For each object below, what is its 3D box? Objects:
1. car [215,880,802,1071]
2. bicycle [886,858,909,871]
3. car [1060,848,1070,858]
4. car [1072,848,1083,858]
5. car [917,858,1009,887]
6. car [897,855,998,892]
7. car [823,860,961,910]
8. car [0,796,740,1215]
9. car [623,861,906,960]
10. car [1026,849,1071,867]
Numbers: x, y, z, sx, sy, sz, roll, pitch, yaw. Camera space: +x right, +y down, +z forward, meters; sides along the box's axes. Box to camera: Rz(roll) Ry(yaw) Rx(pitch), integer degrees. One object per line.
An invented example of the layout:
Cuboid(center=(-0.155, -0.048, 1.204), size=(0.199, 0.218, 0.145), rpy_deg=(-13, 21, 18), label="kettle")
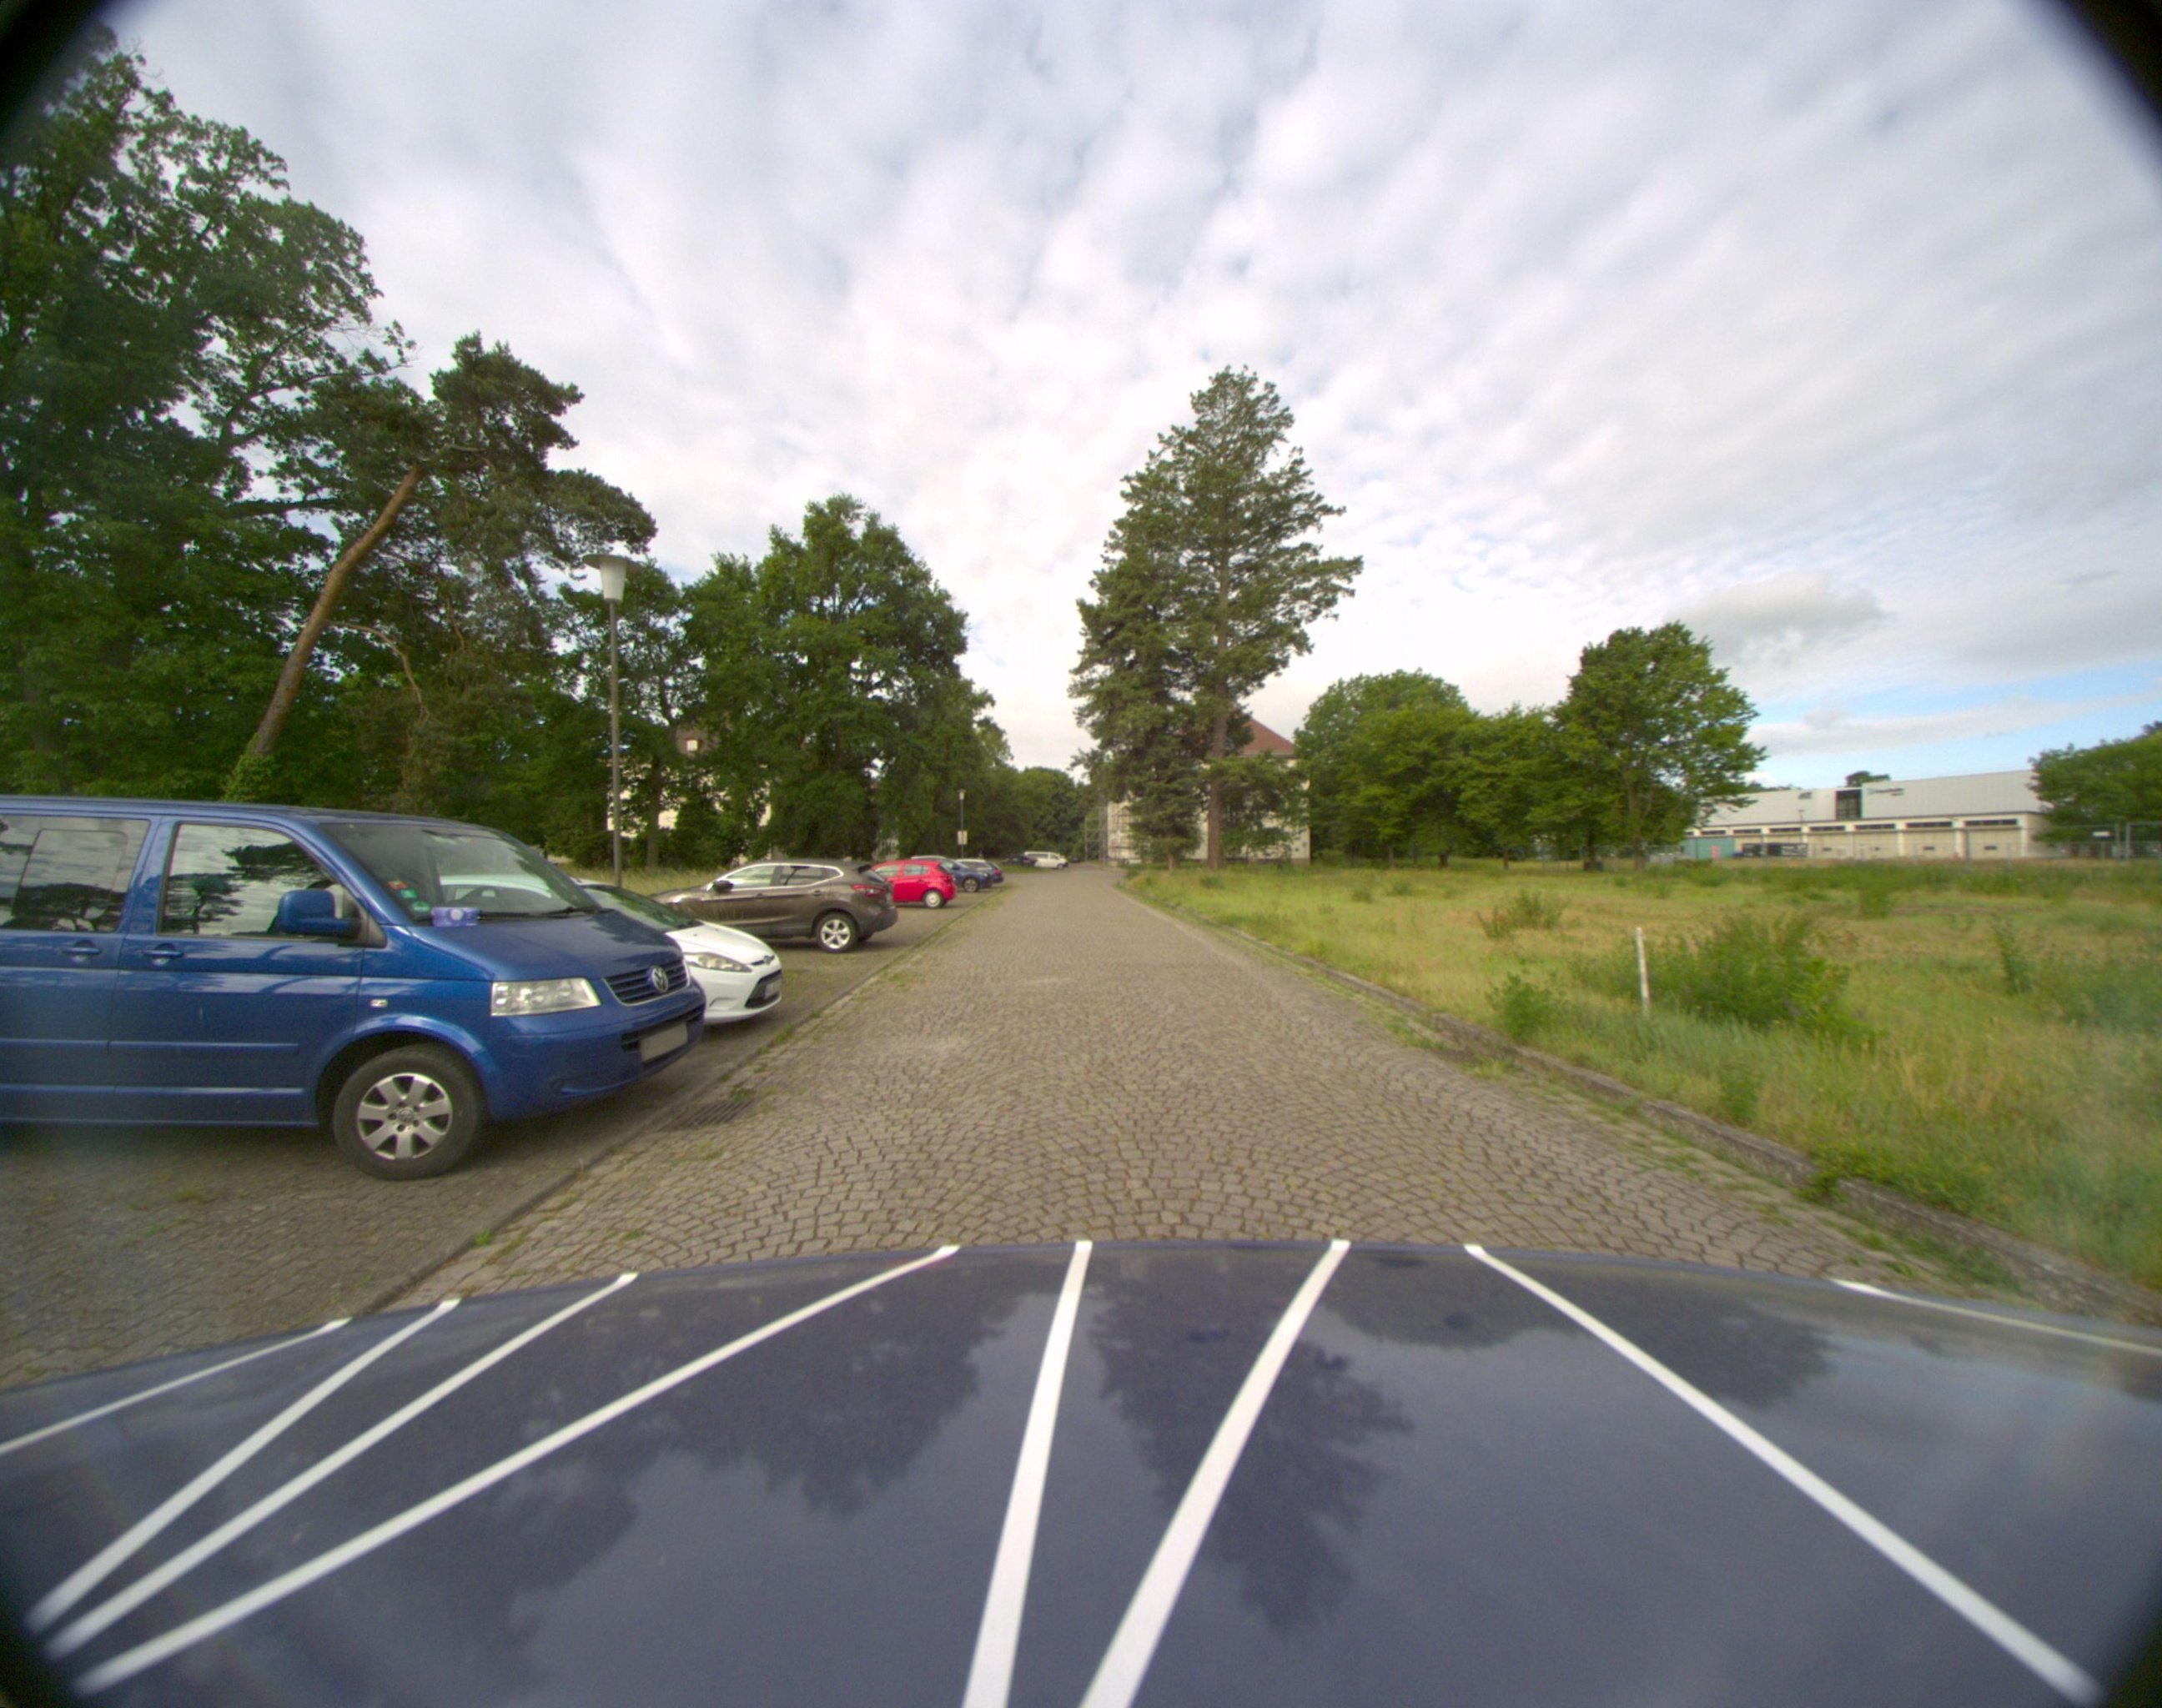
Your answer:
Cuboid(center=(-4.983, 1.016, 7.149), size=(4.110, 1.470, 1.721), rpy_deg=(0, 0, -5), label="car")
Cuboid(center=(-16.259, 0.922, 67.204), size=(1.862, 1.163, 0.487), rpy_deg=(-2, 1, -28), label="bicycle")
Cuboid(center=(-3.200, -0.162, 153.951), size=(1.963, 2.002, 4.259), rpy_deg=(0, 1, -3), label="car")
Cuboid(center=(-0.673, -0.199, 154.284), size=(1.963, 2.002, 4.259), rpy_deg=(0, 1, -3), label="car")
Cuboid(center=(-5.972, 0.929, 38.833), size=(4.368, 1.431, 1.926), rpy_deg=(0, 0, 0), label="car")
Cuboid(center=(-5.923, 0.843, 34.091), size=(4.257, 1.613, 1.886), rpy_deg=(0, 0, -4), label="car")
Cuboid(center=(-5.822, 0.929, 23.787), size=(3.934, 1.488, 1.784), rpy_deg=(0, 0, -4), label="car")
Cuboid(center=(-4.920, 0.720, 4.601), size=(4.809, 1.992, 1.965), rpy_deg=(0, 0, -4), label="car")
Cuboid(center=(-5.409, 0.929, 13.492), size=(4.215, 1.585, 1.952), rpy_deg=(0, 0, -4), label="car")
Cuboid(center=(-3.757, 0.421, 87.734), size=(5.150, 2.002, 1.999), rpy_deg=(0, 1, -2), label="car")
